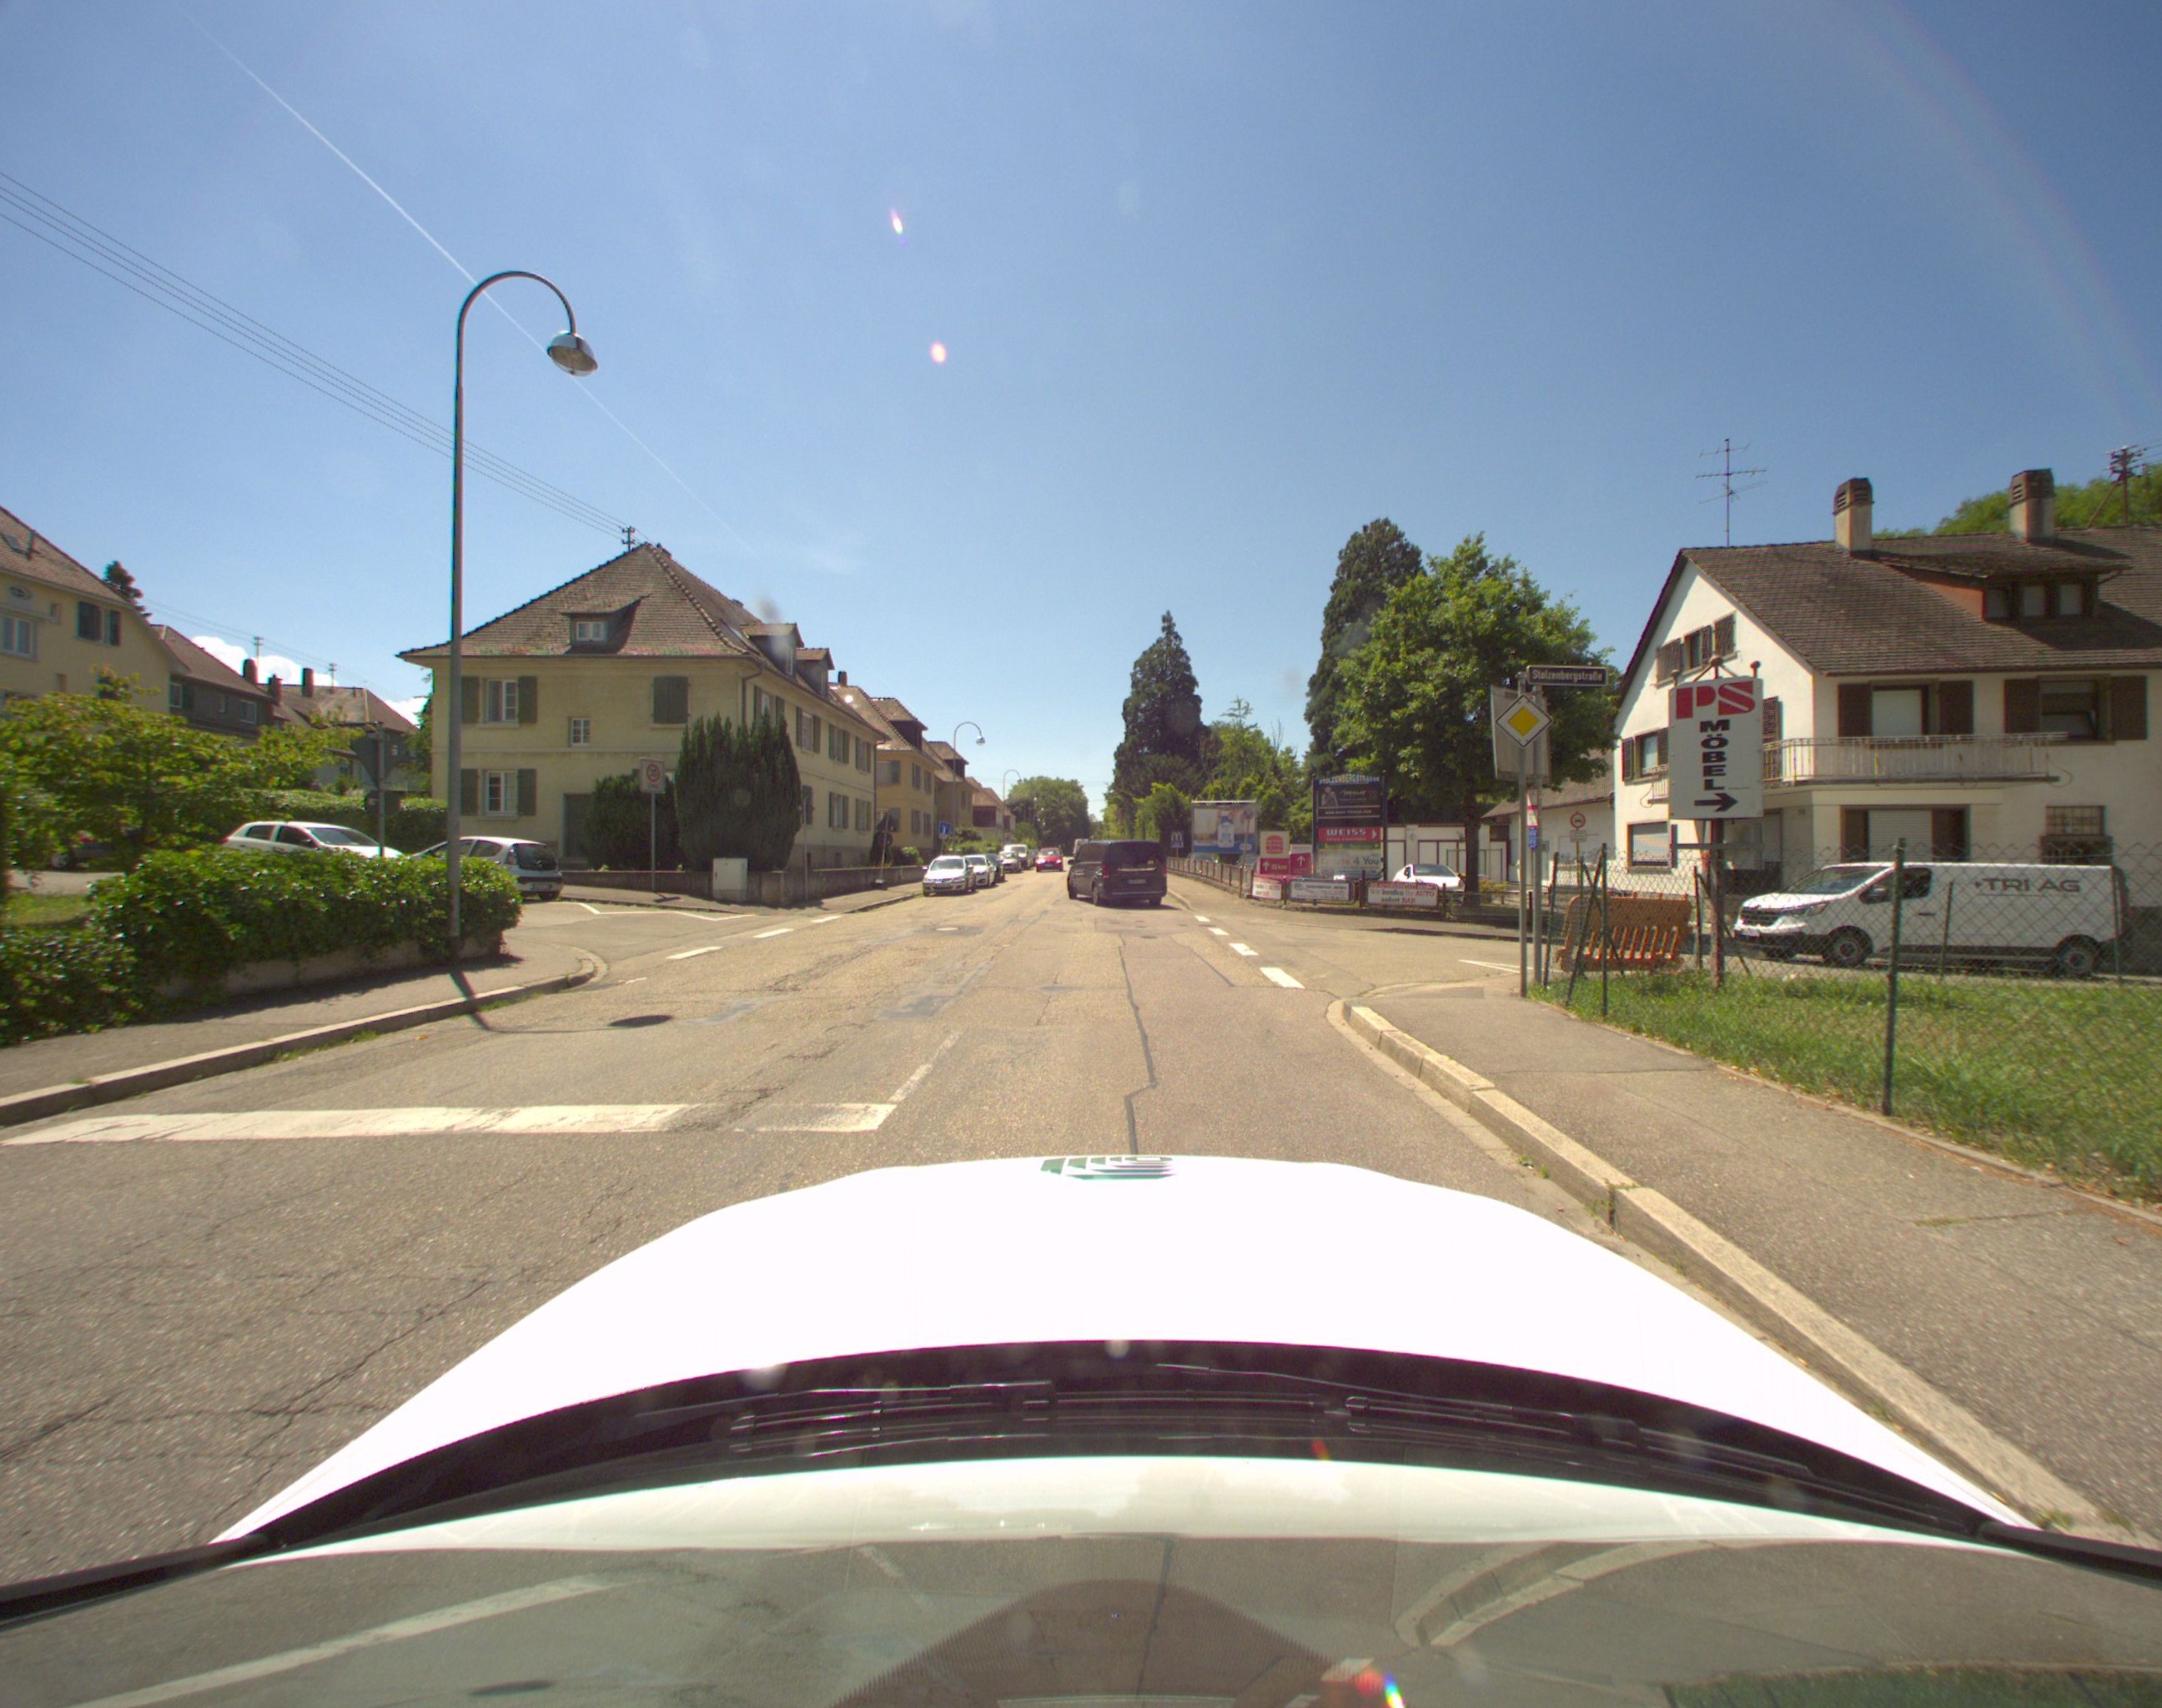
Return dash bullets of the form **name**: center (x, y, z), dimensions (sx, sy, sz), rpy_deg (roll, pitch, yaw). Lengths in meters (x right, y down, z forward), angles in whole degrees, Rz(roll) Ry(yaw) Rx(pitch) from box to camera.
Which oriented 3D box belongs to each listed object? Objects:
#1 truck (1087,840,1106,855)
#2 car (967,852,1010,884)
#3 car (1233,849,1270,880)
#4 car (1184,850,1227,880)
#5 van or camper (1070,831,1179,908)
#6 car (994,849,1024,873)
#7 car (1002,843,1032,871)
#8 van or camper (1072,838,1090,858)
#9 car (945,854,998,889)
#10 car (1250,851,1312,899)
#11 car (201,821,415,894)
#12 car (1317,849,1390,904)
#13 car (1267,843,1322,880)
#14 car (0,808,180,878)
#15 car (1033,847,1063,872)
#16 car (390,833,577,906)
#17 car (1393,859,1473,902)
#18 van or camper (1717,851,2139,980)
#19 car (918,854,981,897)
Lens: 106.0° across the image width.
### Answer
- **truck**: center (2.379, -1.007, 124.806), dimensions (2.351, 2.258, 6.084), rpy_deg (0, 0, -4)
- **car**: center (-4.640, 0.669, 41.276), dimensions (1.711, 1.485, 4.074), rpy_deg (-2, 0, -1)
- **car**: center (9.276, 0.559, 44.519), dimensions (1.623, 1.543, 3.399), rpy_deg (4, 0, 7)
- **car**: center (6.707, 0.546, 44.314), dimensions (1.627, 1.459, 3.554), rpy_deg (4, 0, -2)
- **van or camper**: center (1.118, 0.390, 23.884), dimensions (1.904, 2.013, 5.249), rpy_deg (1, 0, -12)
- **car**: center (-4.825, 0.455, 54.995), dimensions (1.681, 1.525, 4.061), rpy_deg (0, 1, 0)
- **car**: center (-4.785, 0.184, 61.600), dimensions (1.872, 1.963, 4.625), rpy_deg (-2, 1, 0)
- **van or camper**: center (-0.013, -0.776, 110.453), dimensions (2.256, 2.528, 4.757), rpy_deg (-1, 0, -1)
- **car**: center (-4.745, 0.736, 35.905), dimensions (1.789, 1.402, 4.217), rpy_deg (-2, 0, -1)
- **car**: center (6.783, 0.657, 27.957), dimensions (1.702, 1.523, 3.848), rpy_deg (0, 0, 8)
- **car**: center (-18.377, 0.083, 19.458), dimensions (3.561, 1.456, 1.752), rpy_deg (3, -1, 7)
- **car**: center (9.115, 0.702, 27.581), dimensions (1.701, 1.665, 4.473), rpy_deg (2, 0, 11)
- **car**: center (11.416, 0.387, 43.858), dimensions (1.769, 1.800, 4.164), rpy_deg (4, 0, 0)
- **car**: center (-24.941, -0.276, 20.208), dimensions (3.189, 1.456, 1.736), rpy_deg (4, 0, 2)
- **car**: center (-2.213, 0.364, 55.657), dimensions (1.808, 1.566, 3.696), rpy_deg (-1, 0, 0)
- **car**: center (-14.249, 0.361, 19.521), dimensions (3.185, 1.456, 1.738), rpy_deg (4, 0, 7)
- **car**: center (11.523, 0.812, 26.847), dimensions (1.701, 1.270, 3.395), rpy_deg (1, 0, 11)
- **van or camper**: center (15.376, 1.063, 15.119), dimensions (5.313, 1.979, 2.005), rpy_deg (2, -1, 9)
- **car**: center (-4.926, 0.771, 30.943), dimensions (1.754, 1.447, 3.923), rpy_deg (-2, 0, -1)
